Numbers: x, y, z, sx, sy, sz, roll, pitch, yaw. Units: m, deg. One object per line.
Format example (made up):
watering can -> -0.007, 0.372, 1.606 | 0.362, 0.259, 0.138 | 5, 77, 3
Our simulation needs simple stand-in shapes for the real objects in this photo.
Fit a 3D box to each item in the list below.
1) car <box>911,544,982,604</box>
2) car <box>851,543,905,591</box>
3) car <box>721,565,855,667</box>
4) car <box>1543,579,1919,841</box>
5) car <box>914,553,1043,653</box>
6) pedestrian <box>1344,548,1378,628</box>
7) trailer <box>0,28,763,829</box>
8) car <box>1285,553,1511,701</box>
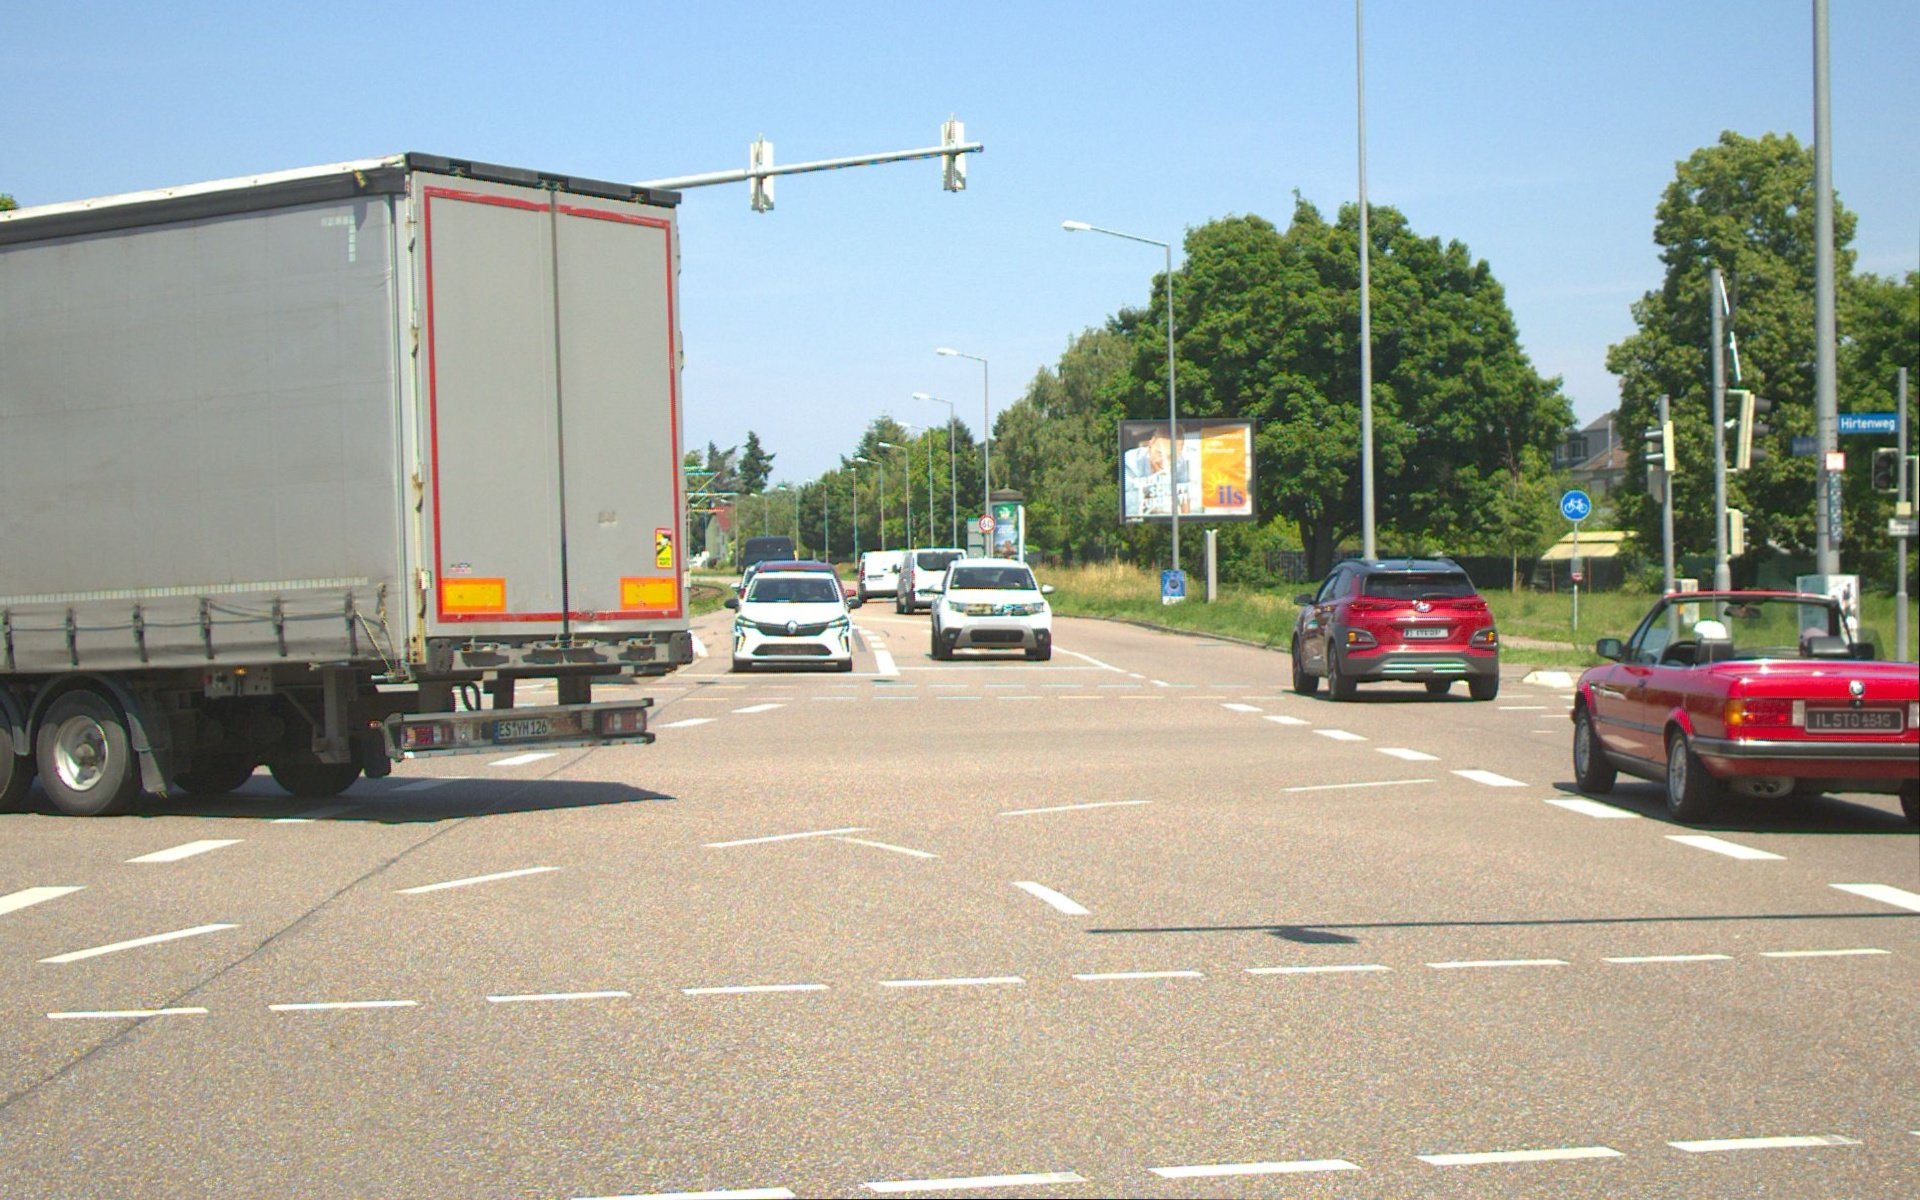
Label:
car -> -0.409, -0.771, 100.041 | 1.858, 1.686, 4.157 | 1, 1, -3
car -> -3.029, -1.222, 126.383 | 1.858, 1.686, 4.157 | 1, 1, -3
car -> -2.498, 0.207, 50.173 | 1.858, 1.368, 4.157 | 1, 1, -3
car -> 4.881, 0.600, 21.182 | 1.654, 1.392, 4.268 | 1, 1, -3
car -> 0.268, 0.021, 55.850 | 1.858, 1.537, 4.157 | 1, 1, -3
pedestrian -> 10.173, -0.299, 87.261 | 0.742, 2.007, 0.613 | 1, 1, 0
trailer -> -5.635, -0.907, 22.527 | 8.737, 4.407, 2.831 | -1, -1, 34
car -> 4.875, 0.264, 38.730 | 1.858, 1.544, 3.887 | 1, 1, -3
